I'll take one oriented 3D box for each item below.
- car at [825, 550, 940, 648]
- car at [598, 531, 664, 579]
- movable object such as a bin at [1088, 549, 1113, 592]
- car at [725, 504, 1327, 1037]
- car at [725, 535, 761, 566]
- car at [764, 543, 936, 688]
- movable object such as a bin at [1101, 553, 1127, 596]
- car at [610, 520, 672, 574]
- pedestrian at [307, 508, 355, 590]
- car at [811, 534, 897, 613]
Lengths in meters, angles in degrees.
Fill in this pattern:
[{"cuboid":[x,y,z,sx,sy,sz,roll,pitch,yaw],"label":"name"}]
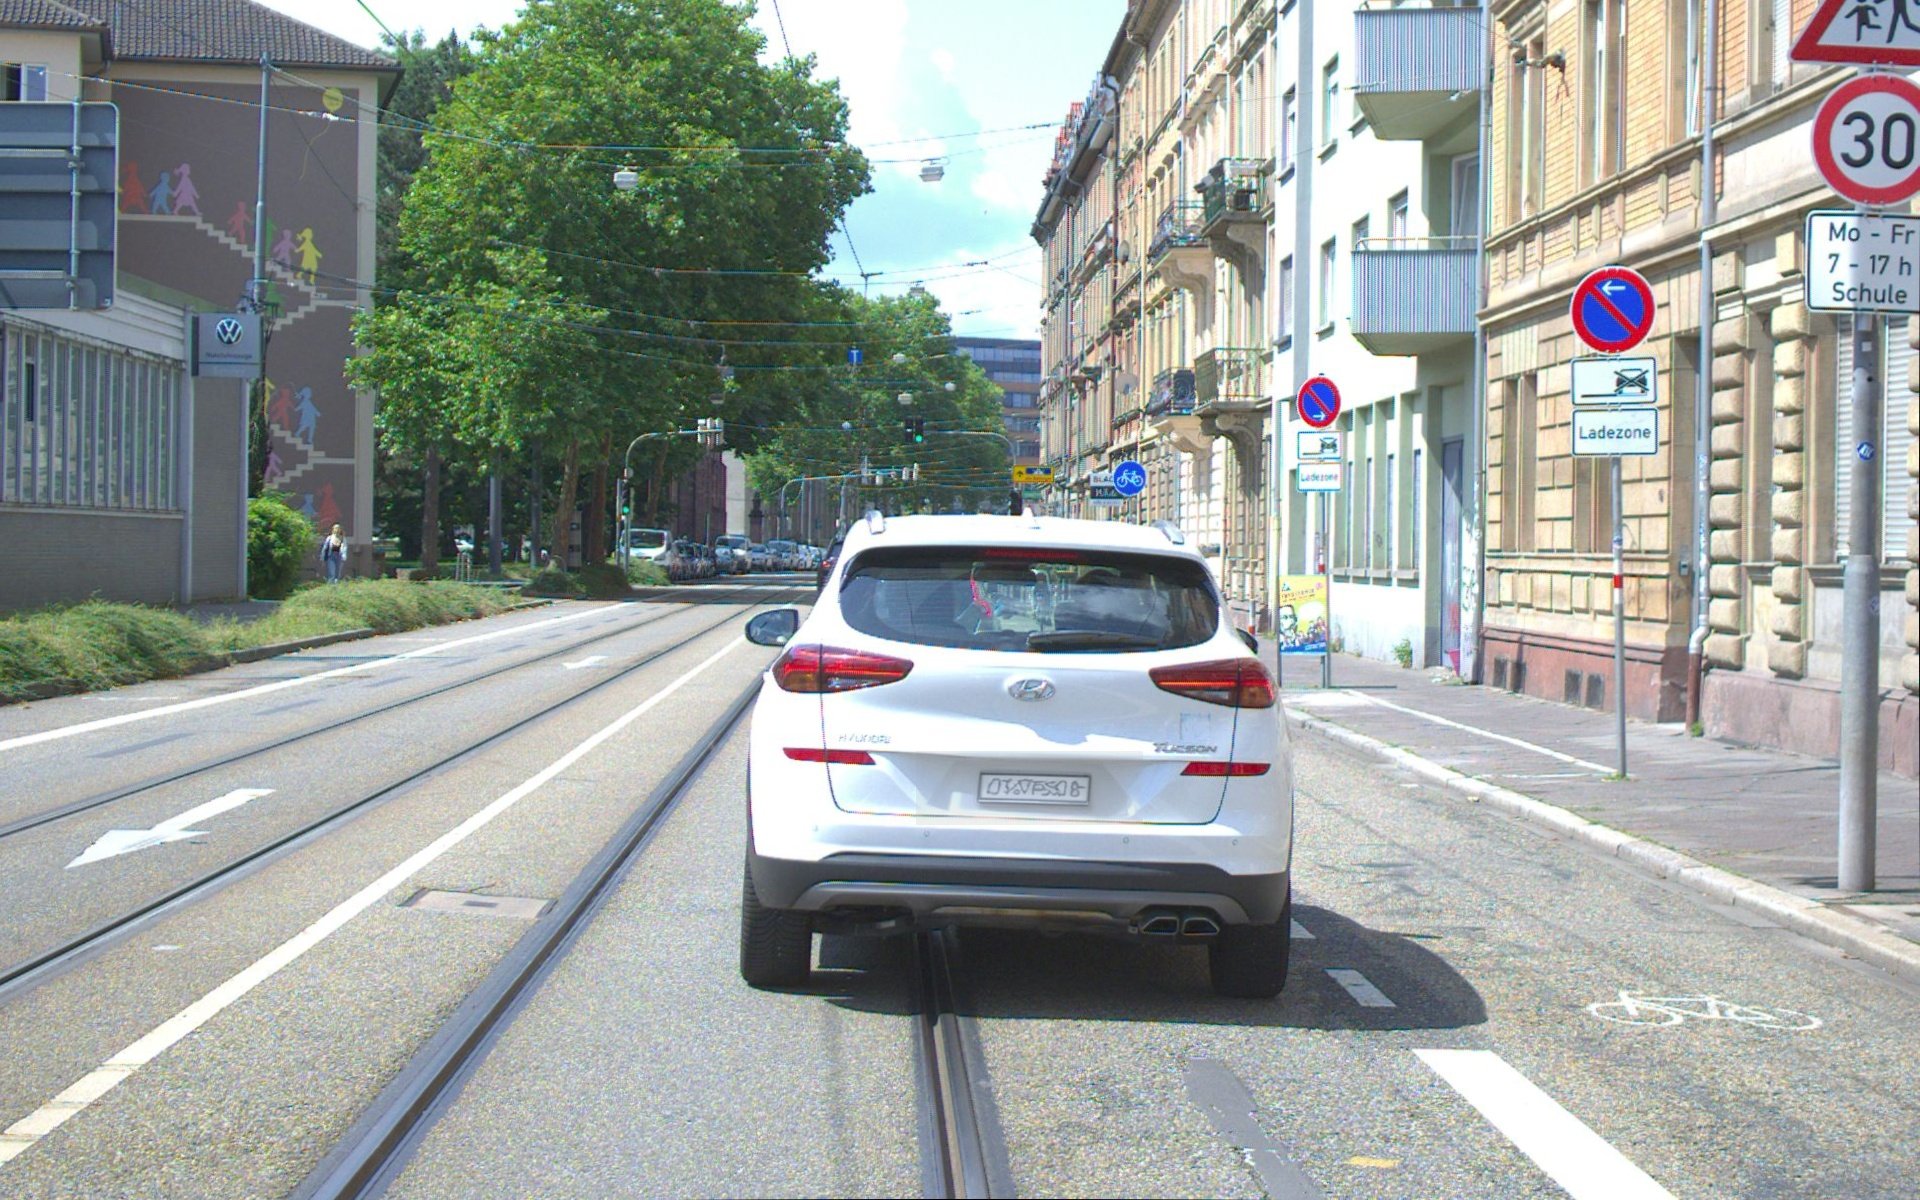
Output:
[{"cuboid":[-1.270,-0.042,56.498,1.814,1.519,3.956,1,1,-1],"label":"car"},{"cuboid":[-11.517,-1.595,120.719,1.950,1.626,4.576,1,1,-2],"label":"car"},{"cuboid":[3.783,-0.797,92.587,0.612,1.139,0.638,1,1,-1],"label":"movable object such as a bin"},{"cuboid":[0.077,0.509,12.959,1.852,1.628,4.181,2,1,-4],"label":"car"},{"cuboid":[-12.055,-2.742,190.981,1.950,1.626,4.001,1,1,-4],"label":"car"},{"cuboid":[-1.184,0.136,38.556,1.814,1.519,4.085,0,1,0],"label":"car"},{"cuboid":[4.079,-0.678,91.162,0.612,1.139,0.638,1,1,-1],"label":"movable object such as a bin"},{"cuboid":[-11.730,-1.955,126.713,1.950,1.888,4.566,1,1,-2],"label":"car"},{"cuboid":[-14.367,-1.162,78.547,0.880,1.859,1.081,0,1,-1],"label":"pedestrian"},{"cuboid":[-2.319,-0.605,75.505,1.814,1.656,4.085,1,1,-1],"label":"car"}]
